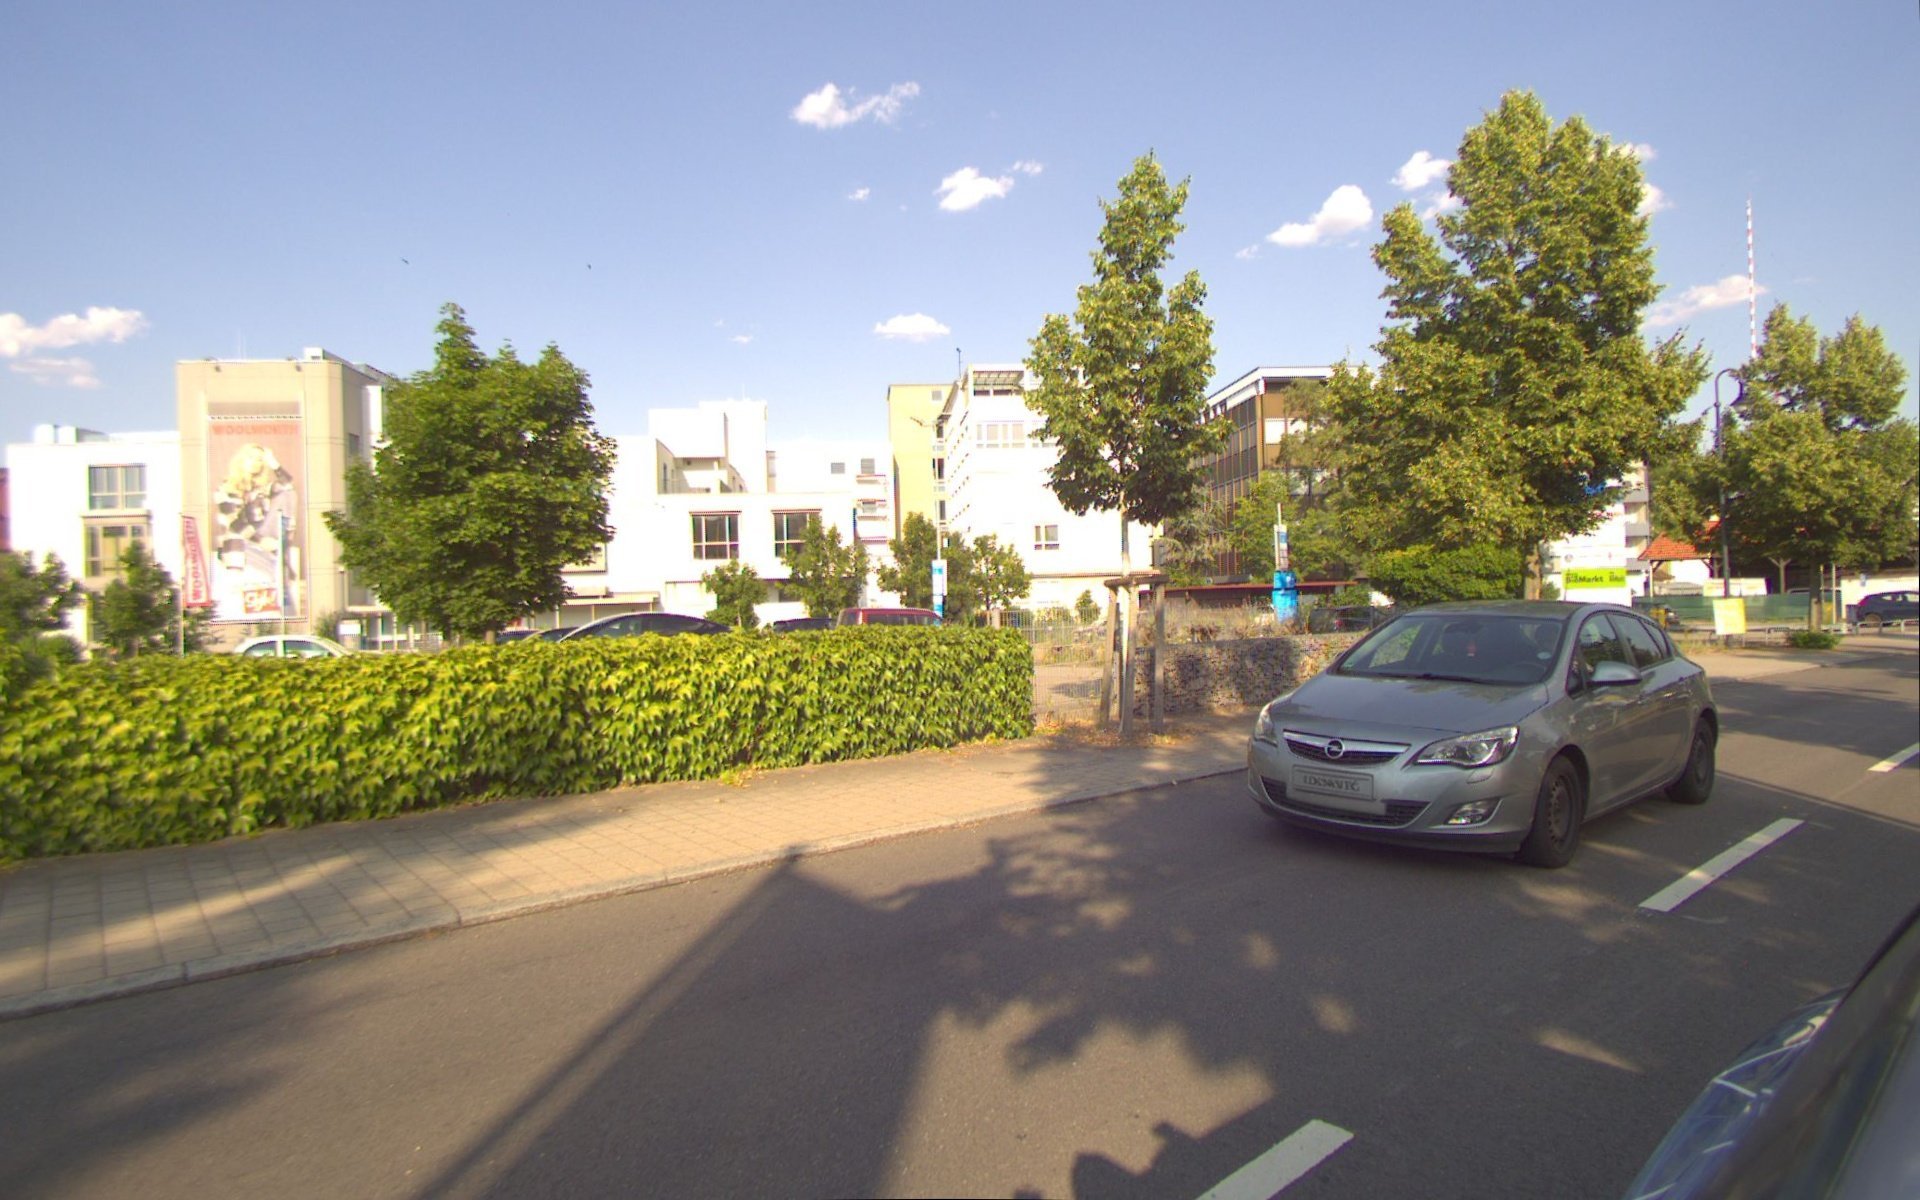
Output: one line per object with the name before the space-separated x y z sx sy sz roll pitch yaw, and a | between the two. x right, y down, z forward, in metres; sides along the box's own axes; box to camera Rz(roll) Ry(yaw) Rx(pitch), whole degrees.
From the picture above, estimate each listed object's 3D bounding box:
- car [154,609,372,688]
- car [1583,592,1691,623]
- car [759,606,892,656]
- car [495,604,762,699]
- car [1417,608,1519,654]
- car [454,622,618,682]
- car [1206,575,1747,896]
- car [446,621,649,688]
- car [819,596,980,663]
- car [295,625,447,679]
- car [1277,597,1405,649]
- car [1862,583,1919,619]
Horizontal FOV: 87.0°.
car | -16.808 1.161 24.715 4.230 1.746 1.895 0 -3 -31
car | 33.344 0.389 49.946 1.899 1.438 4.003 -1 -1 -30
car | -4.965 1.112 37.527 4.462 1.669 1.999 -1 -1 -35
car | -6.291 0.936 19.419 4.463 1.551 1.998 -1 -3 -36
car | 17.224 1.023 34.278 3.202 1.417 1.617 -1 -1 -31
car | -11.786 1.392 28.189 3.879 1.462 1.999 -1 -1 -36
car | 3.649 0.643 6.798 4.229 1.509 1.724 0 0 -40
car | -10.477 1.315 25.815 4.463 1.462 1.999 -1 -1 -36
car | -1.821 0.869 31.203 4.559 1.878 1.999 -1 -1 -35
car | -20.713 1.786 35.833 4.454 1.669 2.003 -1 -1 -25
car | 11.894 0.695 31.535 3.788 1.481 1.660 -1 -1 -30
car | 39.600 0.027 41.210 1.899 1.438 3.841 -1 -1 -30
